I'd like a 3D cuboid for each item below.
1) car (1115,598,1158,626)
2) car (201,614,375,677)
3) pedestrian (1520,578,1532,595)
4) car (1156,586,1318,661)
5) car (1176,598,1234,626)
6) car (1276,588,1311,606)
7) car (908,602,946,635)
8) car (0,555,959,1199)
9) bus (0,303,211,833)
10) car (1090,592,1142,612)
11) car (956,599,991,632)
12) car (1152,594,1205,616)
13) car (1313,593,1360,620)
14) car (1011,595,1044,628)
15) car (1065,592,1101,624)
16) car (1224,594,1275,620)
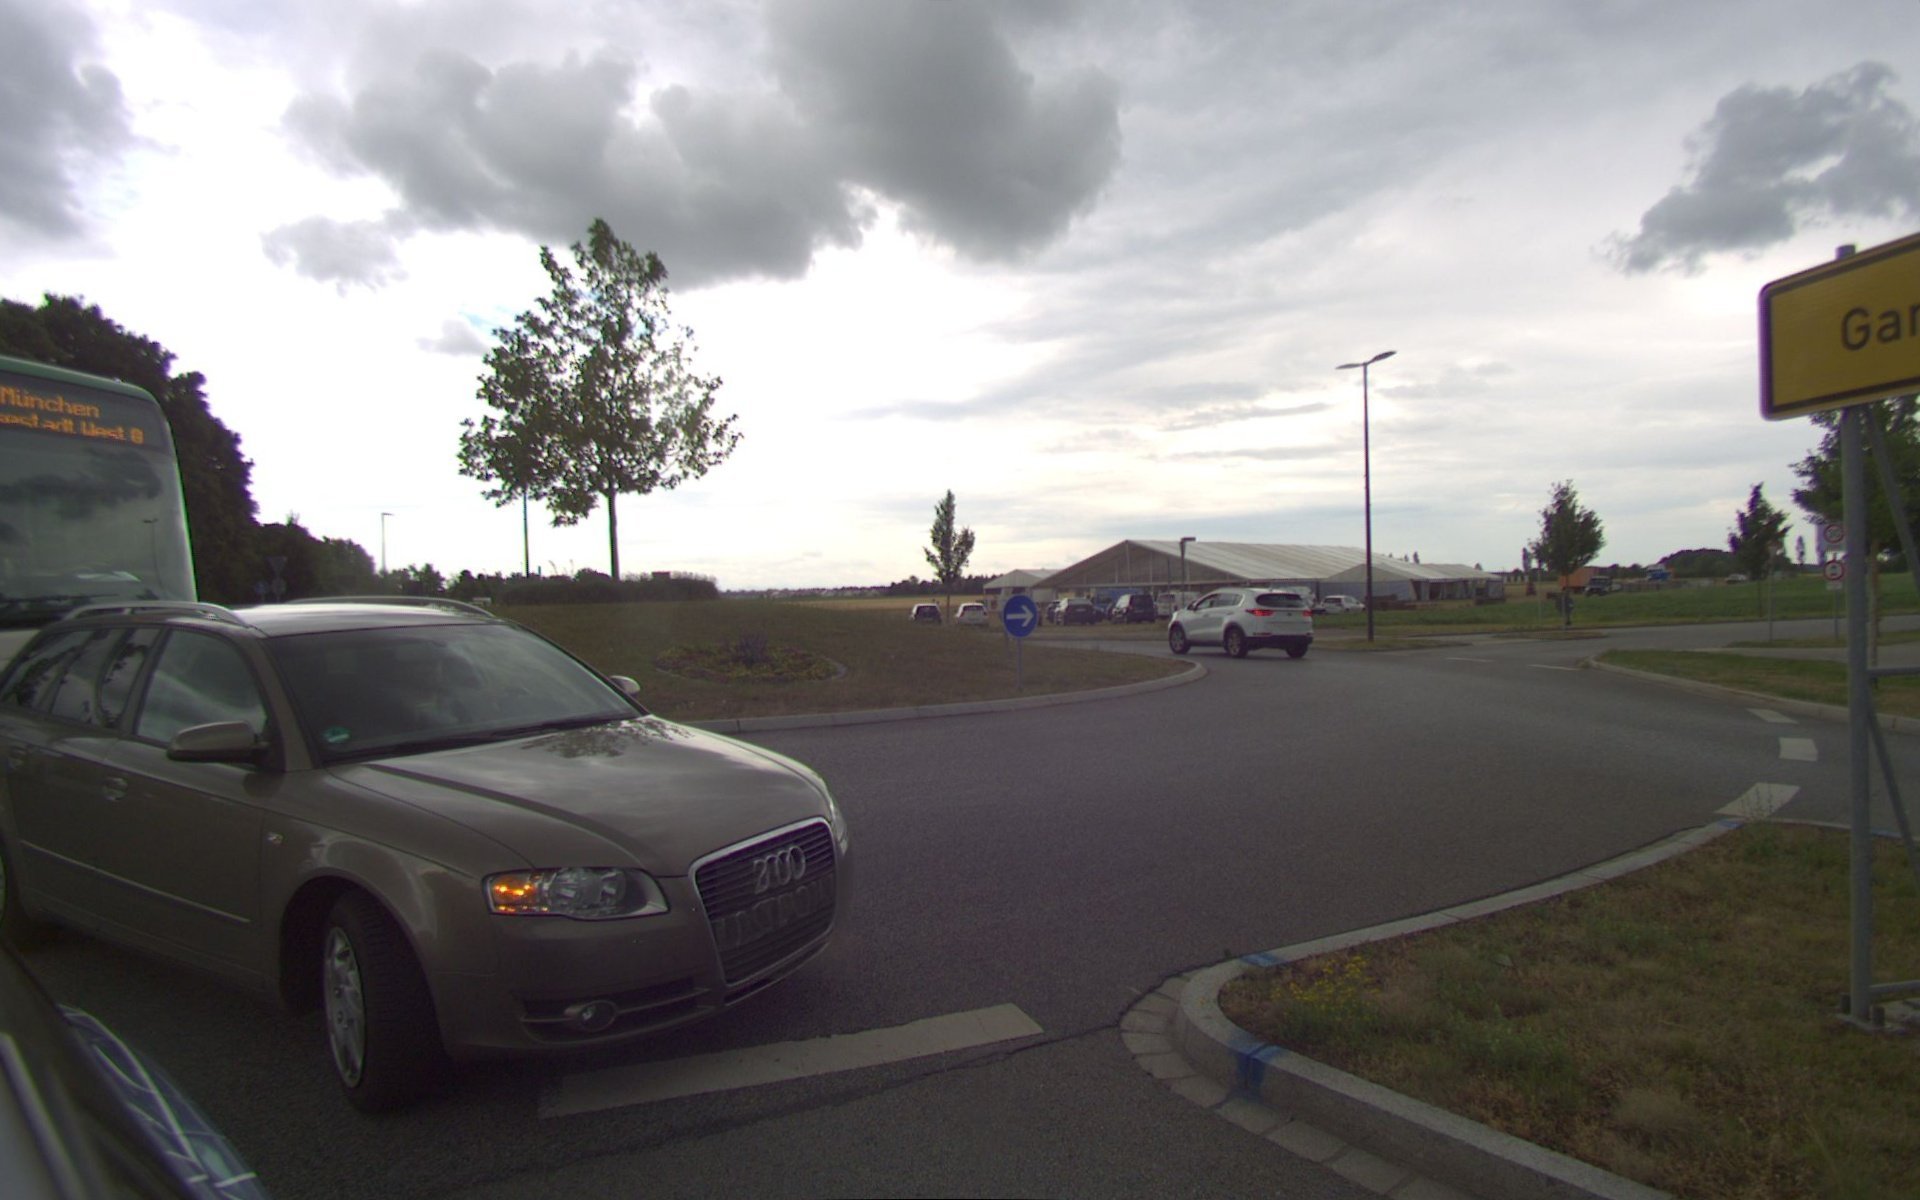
[{"bbox_3d":[10.078,0.671,58.021,1.926,1.453,3.996,-2,0,3],"label":"car"},{"bbox_3d":[-19.465,1.256,29.594,1.948,1.579,4.454,-2,0,4],"label":"car"},{"bbox_3d":[70.960,-1.706,126.908,1.045,2.029,1.052,-2,1,-44],"label":"pedestrian"},{"bbox_3d":[6.666,0.522,24.929,1.685,1.638,4.464,-1,0,-17],"label":"car"},{"bbox_3d":[14.796,0.714,61.297,1.705,1.618,3.887,-2,0,-15],"label":"car"},{"bbox_3d":[32.544,-0.330,98.601,1.835,1.618,3.776,-1,0,42],"label":"car"},{"bbox_3d":[-1.848,1.011,57.281,1.694,1.564,3.996,-4,2,4],"label":"car"},{"bbox_3d":[-2.407,0.680,4.125,4.521,1.476,1.766,-2,0,29],"label":"car"},{"bbox_3d":[-9.148,-0.185,6.887,6.464,3.283,2.522,0,0,4],"label":"bus"},{"bbox_3d":[11.981,0.135,77.725,3.941,1.453,1.953,-2,0,-44],"label":"car"},{"bbox_3d":[0.808,0.830,57.420,1.694,1.564,3.996,-4,2,4],"label":"car"},{"bbox_3d":[15.365,0.346,71.073,1.951,1.453,3.945,-1,0,41],"label":"car"},{"bbox_3d":[24.267,0.409,65.106,1.729,1.565,3.950,-1,0,37],"label":"car"},{"bbox_3d":[3.844,0.623,57.613,1.694,1.564,3.996,-4,2,4],"label":"car"},{"bbox_3d":[6.992,0.412,57.697,1.694,1.564,3.996,-4,2,4],"label":"car"},{"bbox_3d":[19.651,0.479,68.705,1.835,1.618,3.776,-1,0,42],"label":"car"}]
